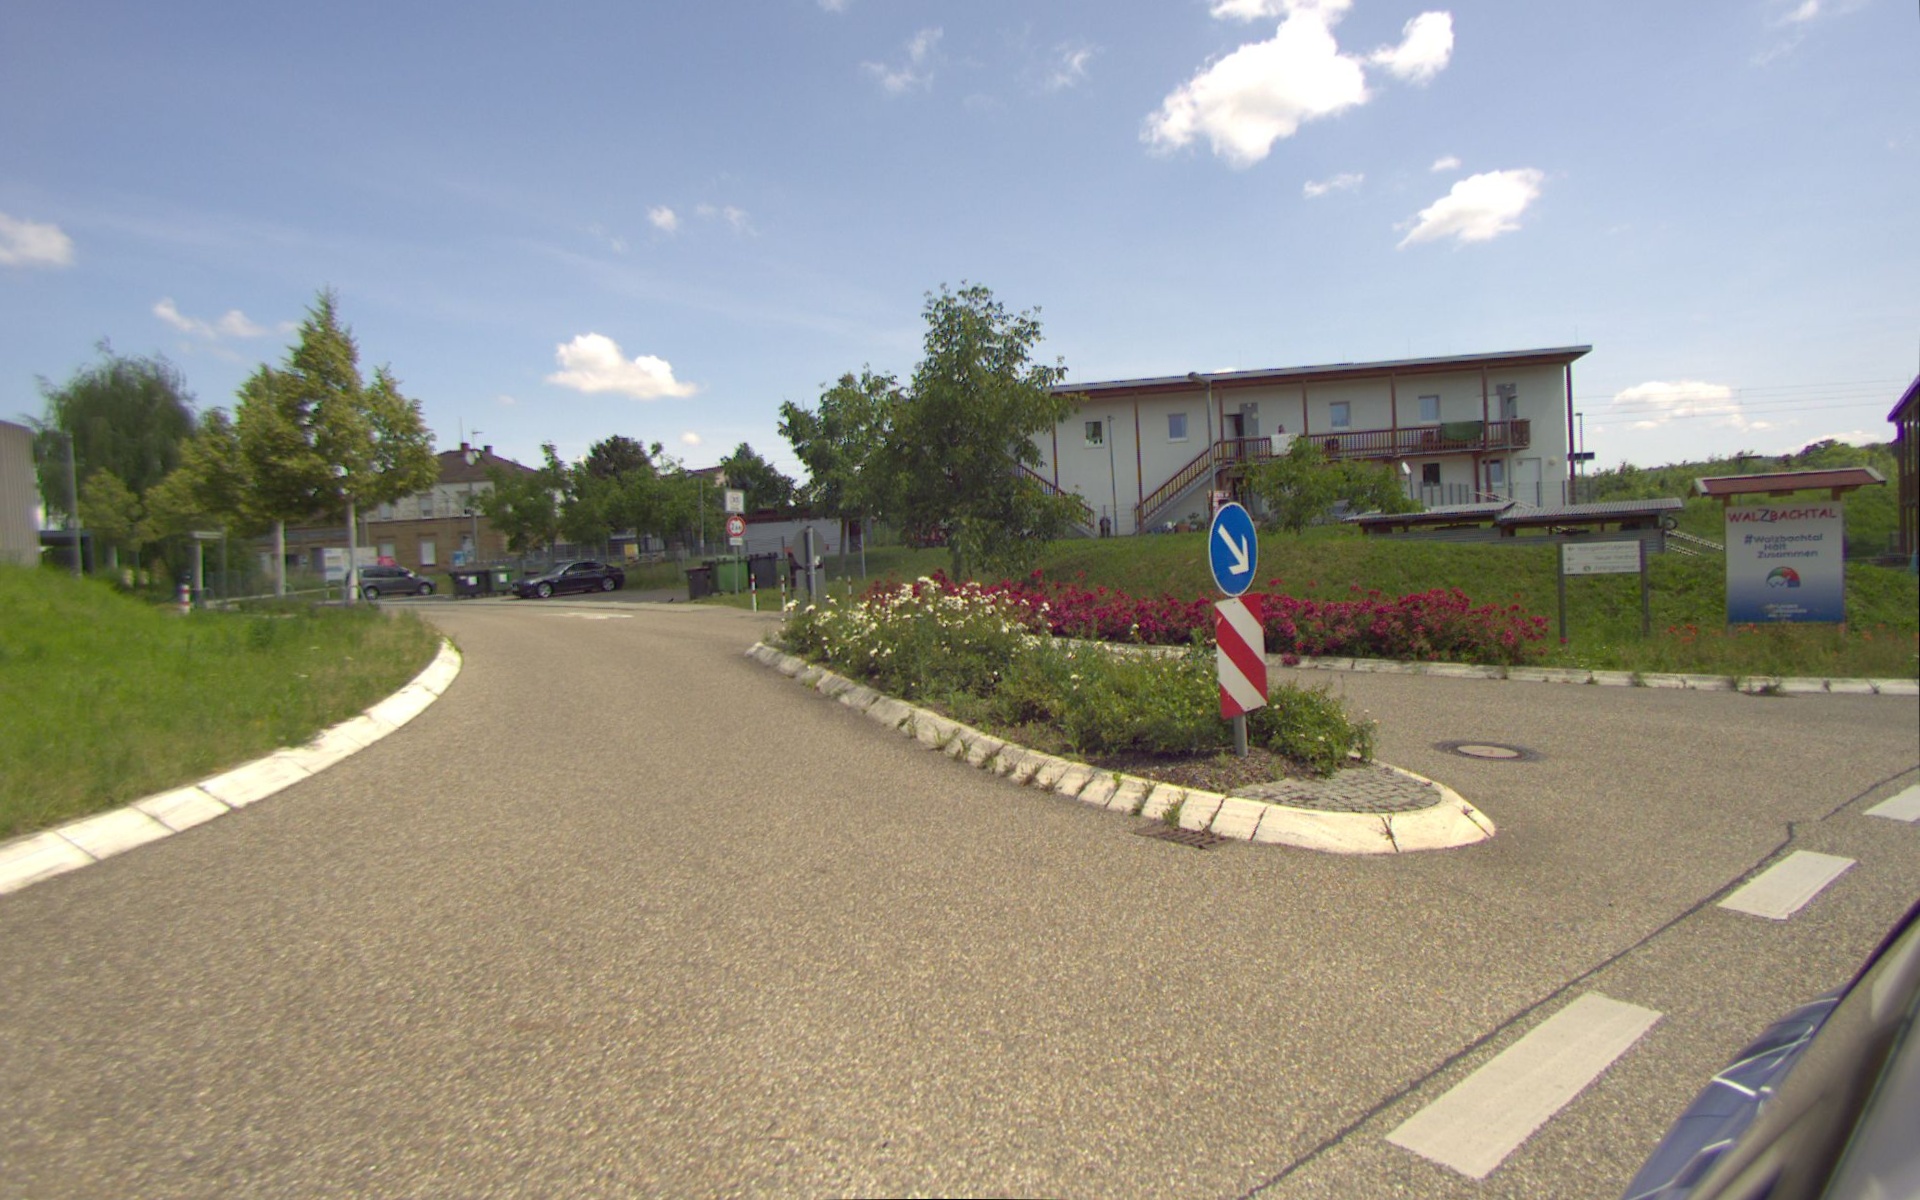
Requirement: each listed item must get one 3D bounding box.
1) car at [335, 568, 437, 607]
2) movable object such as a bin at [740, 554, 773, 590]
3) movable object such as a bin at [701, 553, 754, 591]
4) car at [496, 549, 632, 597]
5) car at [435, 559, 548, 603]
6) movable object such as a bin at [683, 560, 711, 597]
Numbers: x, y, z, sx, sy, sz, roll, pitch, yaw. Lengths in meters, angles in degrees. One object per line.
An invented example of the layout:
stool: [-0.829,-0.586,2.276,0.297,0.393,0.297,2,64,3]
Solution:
car: [-29.627,-0.659,52.323,1.990,1.792,4.168,-5,-2,40]
movable object such as a bin: [-6.667,-0.918,33.123,0.778,1.132,0.760,-2,-3,-37]
movable object such as a bin: [-7.402,-0.885,32.219,1.341,1.117,0.967,-2,-2,-38]
car: [-16.759,-1.142,43.019,1.990,1.792,4.989,-5,-2,40]
car: [-21.218,-0.857,45.955,1.990,1.792,4.168,-5,-2,40]
movable object such as a bin: [-8.209,-0.658,31.608,0.615,1.094,0.625,-2,-3,-37]
